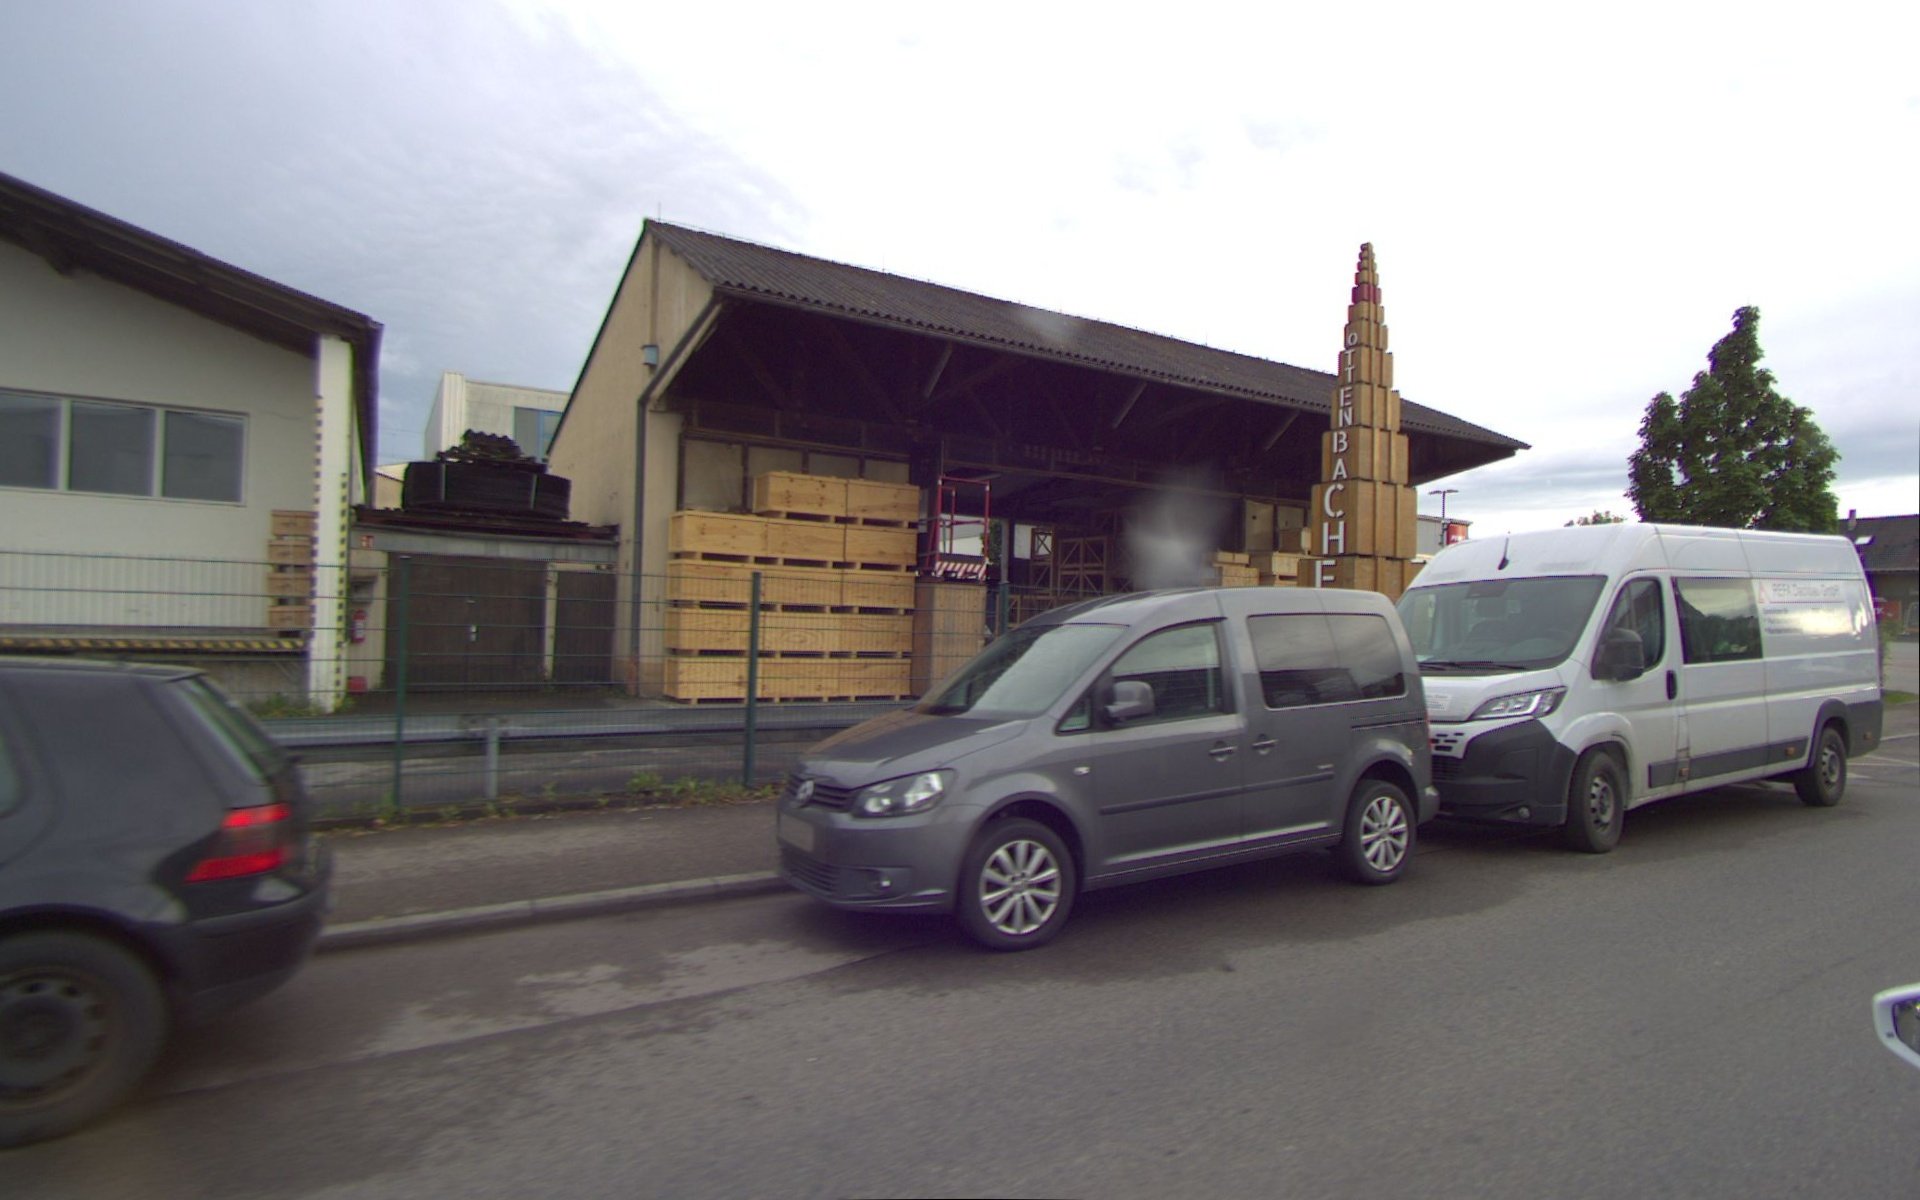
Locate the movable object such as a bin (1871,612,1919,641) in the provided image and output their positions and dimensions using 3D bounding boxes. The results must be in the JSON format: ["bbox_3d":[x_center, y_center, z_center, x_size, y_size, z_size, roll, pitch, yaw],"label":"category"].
[{"bbox_3d":[62.005,1.733,65.599,1.982,1.783,3.397,2,0,-37],"label":"movable object such as a bin"}]

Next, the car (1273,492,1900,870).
[{"bbox_3d":[5.916,0.638,9.144,6.386,2.458,2.148,1,-4,-31],"label":"car"}]

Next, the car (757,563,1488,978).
[{"bbox_3d":[1.130,0.847,6.262,4.395,1.791,1.761,2,-5,-31],"label":"car"}]

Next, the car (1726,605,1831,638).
[{"bbox_3d":[44.174,1.145,54.265,1.867,1.572,4.027,2,0,-35],"label":"car"}]

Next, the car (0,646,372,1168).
[{"bbox_3d":[-4.205,0.871,2.884,4.271,1.467,1.652,2,-3,-33],"label":"car"}]
